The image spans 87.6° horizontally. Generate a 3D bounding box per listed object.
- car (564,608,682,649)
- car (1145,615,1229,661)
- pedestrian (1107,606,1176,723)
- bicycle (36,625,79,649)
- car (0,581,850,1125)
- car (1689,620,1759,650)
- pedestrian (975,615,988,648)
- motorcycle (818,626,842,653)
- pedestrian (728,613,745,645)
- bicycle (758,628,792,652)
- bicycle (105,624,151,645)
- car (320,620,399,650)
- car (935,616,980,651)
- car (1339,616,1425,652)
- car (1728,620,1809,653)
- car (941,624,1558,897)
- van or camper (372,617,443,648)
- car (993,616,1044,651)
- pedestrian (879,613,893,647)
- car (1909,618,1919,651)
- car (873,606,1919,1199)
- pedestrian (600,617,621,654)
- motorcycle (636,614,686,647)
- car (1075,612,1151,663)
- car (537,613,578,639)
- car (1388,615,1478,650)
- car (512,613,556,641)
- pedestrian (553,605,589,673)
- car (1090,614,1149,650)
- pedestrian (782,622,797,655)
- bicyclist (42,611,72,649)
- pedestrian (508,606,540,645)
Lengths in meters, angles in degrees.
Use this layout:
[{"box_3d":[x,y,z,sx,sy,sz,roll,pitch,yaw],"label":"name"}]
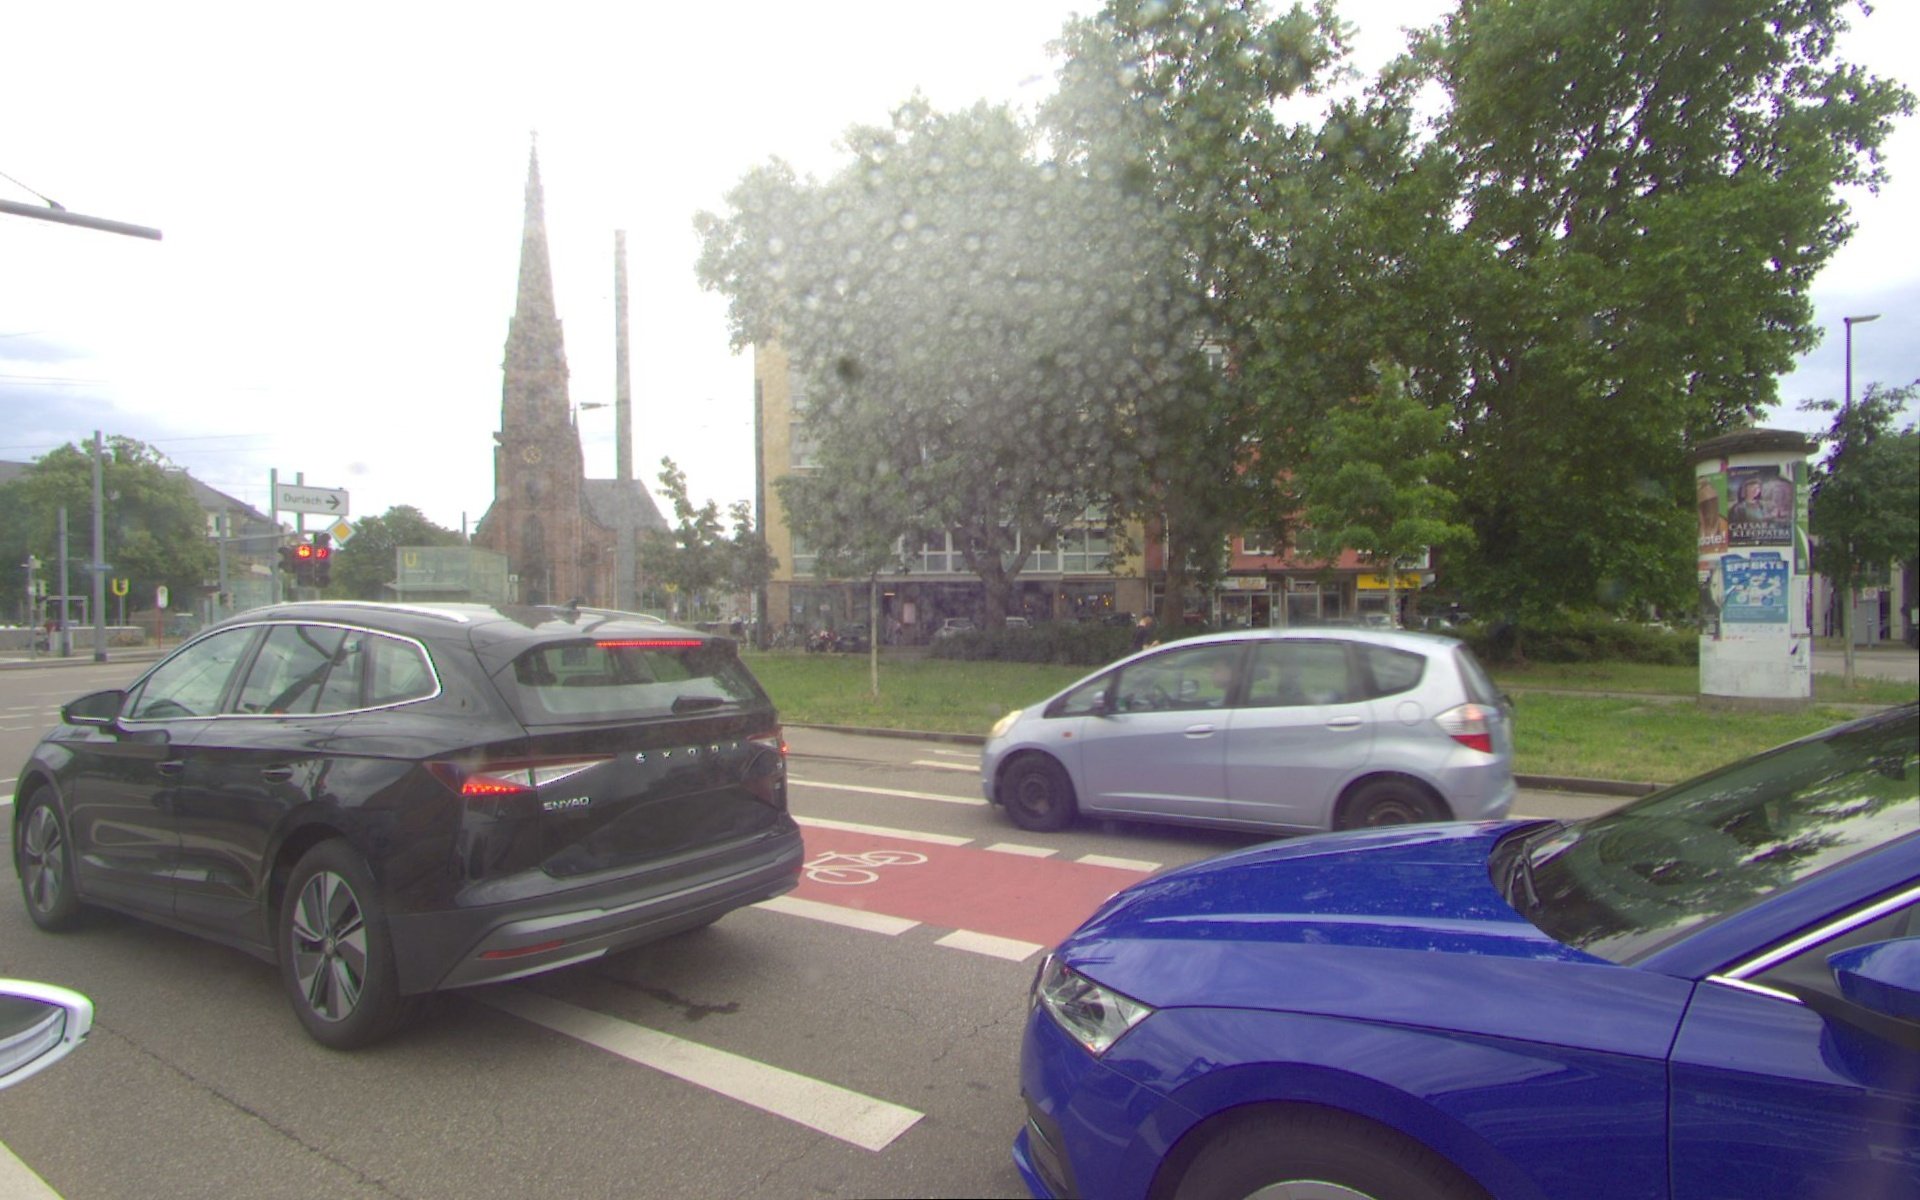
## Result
[{"box_3d":[-18.108,1.514,53.943,5.674,2.039,2.011,-1,-1,-40],"label":"car"},{"box_3d":[8.227,1.351,36.679,1.825,1.568,4.476,0,-1,-3],"label":"car"},{"box_3d":[2.960,1.031,16.353,0.968,1.868,0.536,0,0,-11],"label":"pedestrian"},{"box_3d":[-46.759,1.905,51.886,0.763,1.199,2.030,0,-1,-13],"label":"bicycle"},{"box_3d":[-2.844,0.796,4.905,4.444,1.617,1.774,-1,-1,31],"label":"car"},{"box_3d":[45.353,2.028,59.570,1.828,1.644,4.469,-2,-1,17],"label":"car"},{"box_3d":[1.087,1.557,49.818,0.625,1.659,0.872,0,0,0],"label":"pedestrian"},{"box_3d":[-5.114,1.550,39.418,0.858,1.010,1.014,0,-1,-13],"label":"motorcycle"},{"box_3d":[-11.871,1.529,53.244,0.771,1.659,0.637,0,0,-4],"label":"pedestrian"},{"box_3d":[-7.457,1.618,40.459,1.240,0.929,0.595,0,0,2],"label":"bicycle"},{"box_3d":[-55.446,2.291,66.734,0.699,1.348,2.252,-2,-1,39],"label":"bicycle"},{"box_3d":[-32.256,1.864,53.905,1.740,1.483,4.001,-2,-1,1],"label":"car"},{"box_3d":[-0.158,1.515,46.156,1.825,1.509,4.476,0,-1,-3],"label":"car"},{"box_3d":[19.500,1.545,46.454,1.825,1.568,4.476,0,-1,-5],"label":"car"},{"box_3d":[43.518,1.949,54.032,1.828,1.644,4.469,-2,-1,17],"label":"car"},{"box_3d":[2.020,0.931,7.335,4.039,1.486,1.746,-1,-1,32],"label":"car"},{"box_3d":[-33.033,1.936,60.001,1.961,1.764,4.305,-2,-1,-3],"label":"van or camper"},{"box_3d":[2.660,1.523,46.203,1.825,1.509,4.476,0,-1,-3],"label":"car"},{"box_3d":[-3.633,1.456,49.151,0.625,1.659,0.872,0,0,0],"label":"pedestrian"},{"box_3d":[46.496,1.592,46.356,1.865,1.568,4.469,-2,-1,17],"label":"car"},{"box_3d":[2.146,0.759,1.682,4.402,1.508,1.776,-1,-1,32],"label":"car"},{"box_3d":[-15.781,1.617,45.247,0.625,1.659,0.872,0,0,-1],"label":"pedestrian"},{"box_3d":[-11.123,1.111,37.336,0.753,1.183,2.385,0,-1,12],"label":"motorcycle"},{"box_3d":[5.492,1.336,36.480,1.825,1.745,4.476,0,-1,-3],"label":"car"},{"box_3d":[-32.573,2.110,81.044,1.961,2.040,4.000,0,-1,-5],"label":"car"},{"box_3d":[21.967,1.480,46.690,1.825,1.568,4.476,0,-1,-5],"label":"car"},{"box_3d":[-32.484,2.028,76.492,1.961,2.040,4.000,0,-1,-5],"label":"car"},{"box_3d":[-11.480,1.147,29.592,0.874,1.955,1.016,0,0,-16],"label":"pedestrian"},{"box_3d":[7.372,1.476,46.701,1.825,1.568,4.476,0,-1,-3],"label":"car"},{"box_3d":[-8.558,1.913,50.379,0.625,1.659,0.872,0,0,-1],"label":"pedestrian"},{"box_3d":[-46.755,1.549,51.858,0.764,1.922,0.996,0,0,-13],"label":"bicyclist"},{"box_3d":[-20.845,1.222,47.878,1.066,1.820,0.947,-2,-1,-1],"label":"pedestrian"}]
